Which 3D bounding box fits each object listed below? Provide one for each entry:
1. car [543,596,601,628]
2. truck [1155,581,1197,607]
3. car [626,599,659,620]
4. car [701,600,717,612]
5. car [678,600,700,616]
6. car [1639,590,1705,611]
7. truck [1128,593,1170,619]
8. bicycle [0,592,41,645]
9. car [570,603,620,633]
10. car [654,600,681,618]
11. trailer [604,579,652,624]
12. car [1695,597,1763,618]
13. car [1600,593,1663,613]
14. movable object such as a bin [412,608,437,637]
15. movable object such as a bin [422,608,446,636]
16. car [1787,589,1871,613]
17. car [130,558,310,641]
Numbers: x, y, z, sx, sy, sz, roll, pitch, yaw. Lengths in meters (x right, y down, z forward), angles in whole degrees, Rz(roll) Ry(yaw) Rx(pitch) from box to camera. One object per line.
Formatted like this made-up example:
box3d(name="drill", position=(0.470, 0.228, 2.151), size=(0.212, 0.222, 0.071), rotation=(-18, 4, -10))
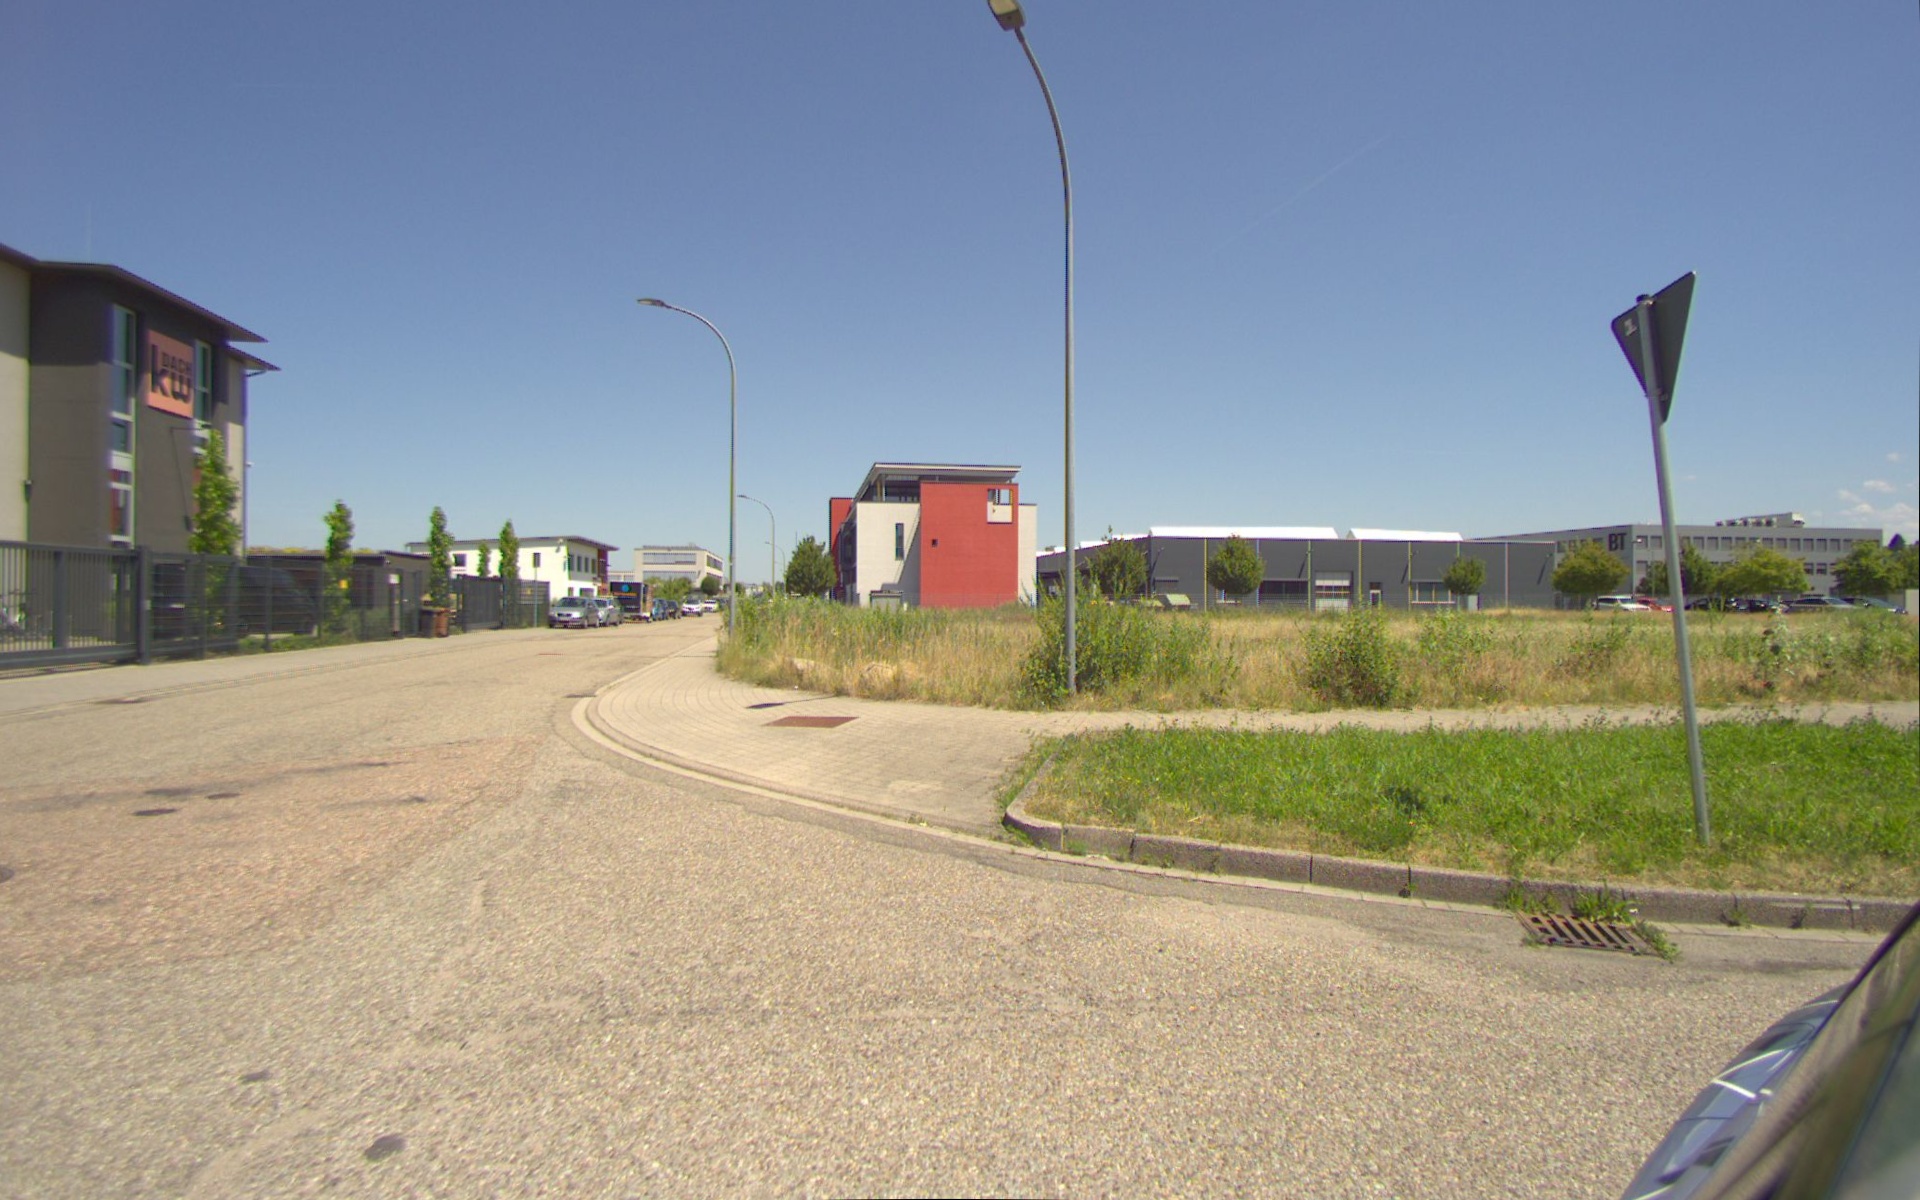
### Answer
box3d(name="car", position=(-17.800, 0.543, 46.549), size=(1.644, 1.402, 3.647), rotation=(1, 0, -8))
box3d(name="truck", position=(17.478, -0.483, 82.074), size=(1.959, 2.039, 4.006), rotation=(0, 0, -9))
box3d(name="car", position=(-21.670, 0.650, 69.200), size=(1.643, 1.402, 3.647), rotation=(1, 0, -9))
box3d(name="car", position=(-30.817, 0.713, 124.390), size=(1.643, 1.402, 3.647), rotation=(1, 0, -9))
box3d(name="car", position=(-25.500, 0.744, 95.250), size=(1.643, 1.402, 3.647), rotation=(1, 0, -9))
box3d(name="car", position=(52.633, 0.049, 74.922), size=(1.684, 1.529, 4.006), rotation=(0, 0, -8))
box3d(name="truck", position=(15.067, 0.459, 80.907), size=(1.959, 2.039, 4.363), rotation=(0, 0, -9))
box3d(name="bicycle", position=(-22.348, 0.415, 23.842), size=(0.435, 1.200, 1.811), rotation=(0, 0, -22))
box3d(name="car", position=(-18.546, 0.889, 51.599), size=(1.644, 1.402, 3.647), rotation=(1, 0, -8))
box3d(name="car", position=(-23.252, 0.719, 80.595), size=(1.643, 1.402, 3.647), rotation=(1, 0, -9))
box3d(name="trailer", position=(-20.412, 0.090, 62.374), size=(2.187, 2.633, 4.006), rotation=(0, 0, -9))
box3d(name="car", position=(57.642, 0.574, 75.936), size=(1.684, 1.529, 4.006), rotation=(0, 0, -8))
box3d(name="car", position=(49.878, 0.200, 75.243), size=(1.684, 1.470, 4.006), rotation=(0, 0, -8))
box3d(name="movable object such as a bin", position=(-16.612, 0.685, 31.397), size=(0.549, 0.895, 0.436), rotation=(0, 0, -7))
box3d(name="movable object such as a bin", position=(-16.743, 0.704, 32.201), size=(0.549, 0.895, 0.436), rotation=(0, 0, -7))
box3d(name="car", position=(56.495, 0.045, 65.891), size=(1.684, 1.529, 4.006), rotation=(0, 0, -9))
box3d(name="car", position=(-18.205, -0.028, 25.149), size=(1.959, 1.891, 4.006), rotation=(0, 0, -8))
